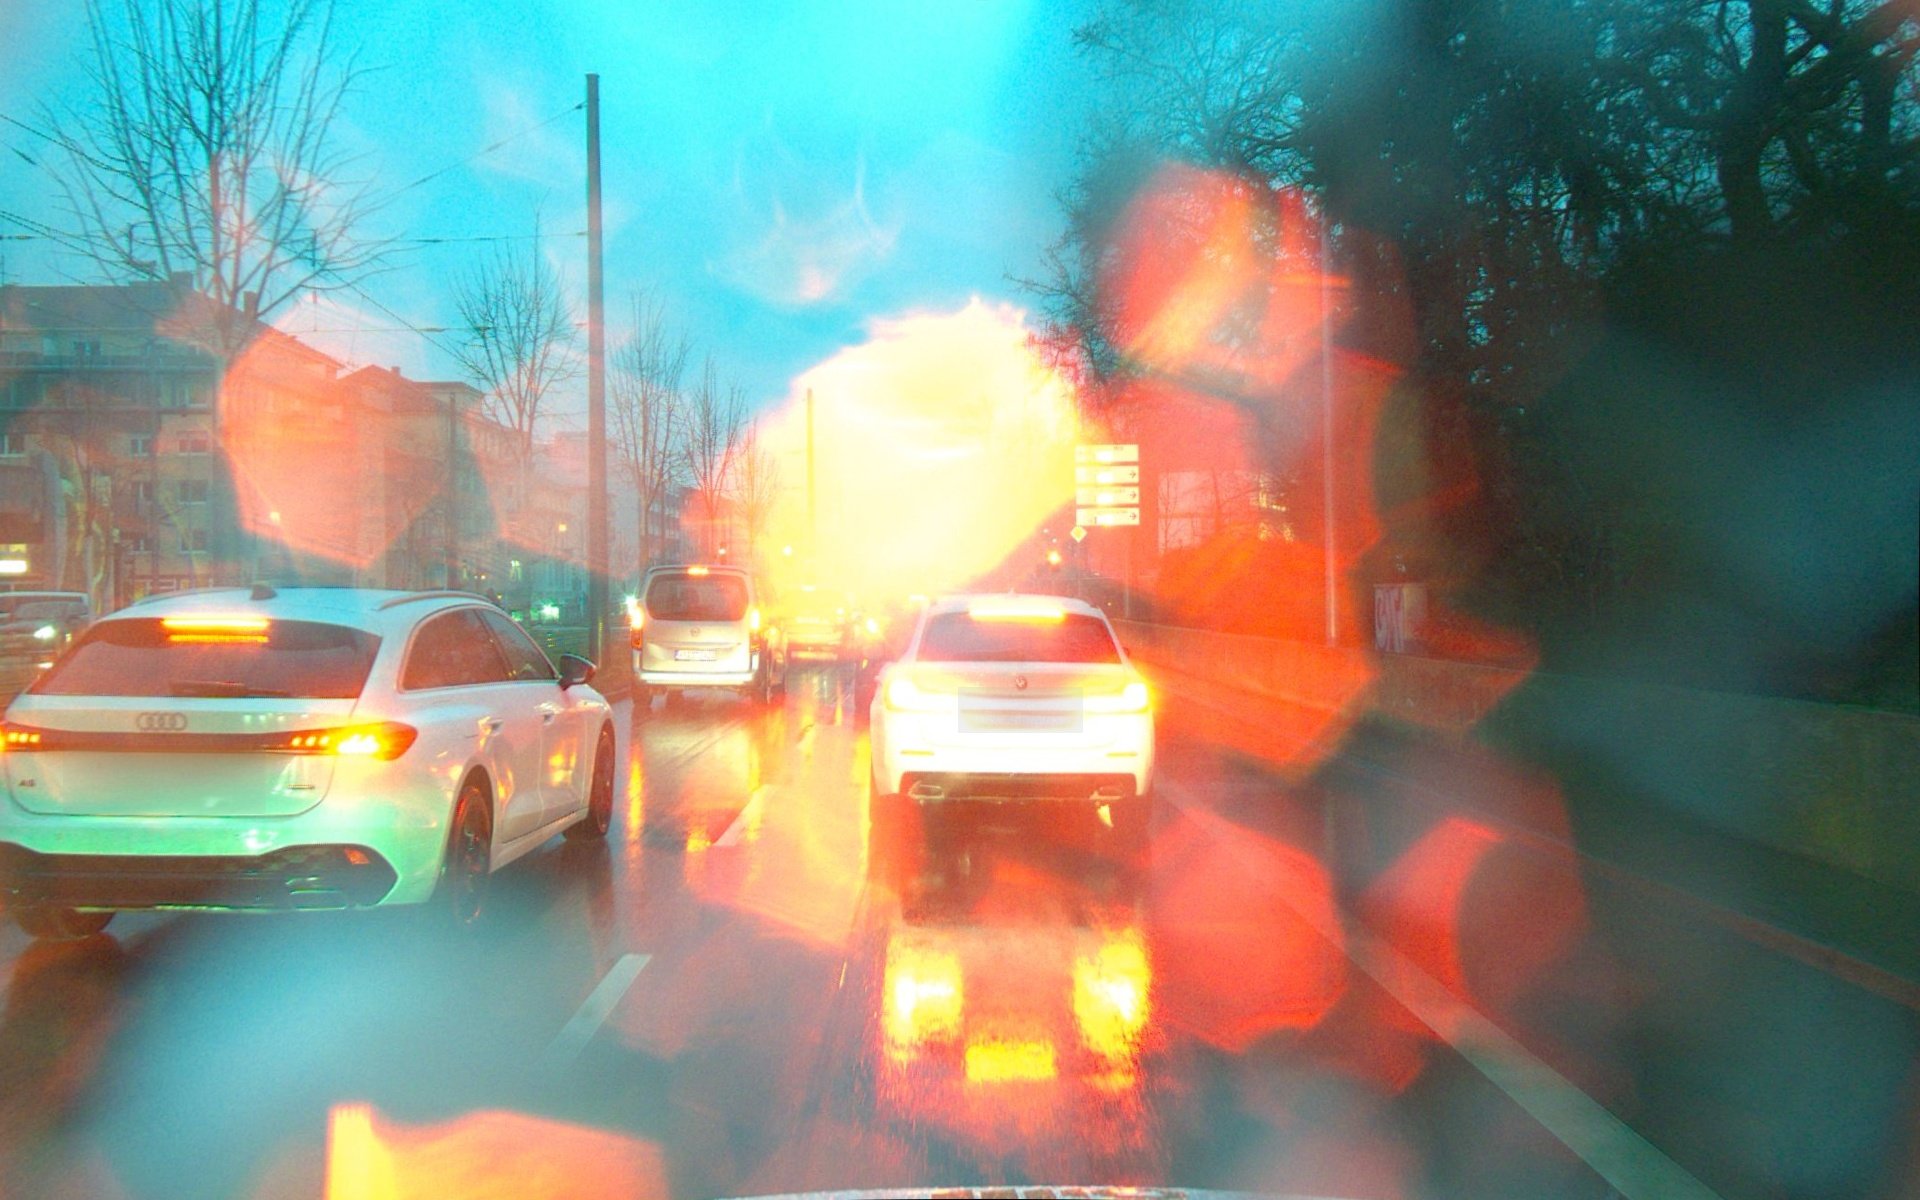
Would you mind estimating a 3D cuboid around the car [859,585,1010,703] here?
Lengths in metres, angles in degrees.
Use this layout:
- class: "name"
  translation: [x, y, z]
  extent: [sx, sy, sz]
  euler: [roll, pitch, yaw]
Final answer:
- class: "car"
  translation: [-0.353, 0.544, 22.906]
  extent: [1.896, 1.483, 4.162]
  euler: [0, 0, -1]

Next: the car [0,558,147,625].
- class: "car"
  translation: [-24.517, -0.240, 45.472]
  extent: [1.857, 1.749, 4.917]
  euler: [0, 0, 1]

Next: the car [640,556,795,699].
- class: "car"
  translation: [-3.242, 0.346, 22.848]
  extent: [1.758, 1.766, 4.533]
  euler: [1, 0, -4]

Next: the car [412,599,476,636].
- class: "car"
  translation: [-24.955, 0.816, 80.174]
  extent: [1.858, 1.662, 4.578]
  euler: [-1, 0, -3]

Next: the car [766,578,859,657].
- class: "car"
  translation: [-3.266, 0.357, 37.143]
  extent: [1.770, 1.674, 3.999]
  euler: [0, 0, -1]

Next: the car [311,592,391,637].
- class: "car"
  translation: [-27.414, 0.617, 74.601]
  extent: [1.954, 1.945, 5.159]
  euler: [-1, 0, -4]

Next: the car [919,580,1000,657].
- class: "car"
  translation: [-0.041, 0.396, 38.603]
  extent: [1.770, 1.674, 3.999]
  euler: [0, 0, -1]

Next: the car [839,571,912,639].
- class: "car"
  translation: [-2.322, 0.139, 46.355]
  extent: [1.953, 1.785, 3.999]
  euler: [1, 0, -2]

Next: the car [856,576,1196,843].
- class: "car"
  translation: [0.346, 0.615, 11.601]
  extent: [1.959, 1.534, 4.162]
  euler: [0, 0, -1]

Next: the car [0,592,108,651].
- class: "car"
  translation: [-32.589, 0.740, 57.314]
  extent: [1.966, 1.945, 5.129]
  euler: [-1, 0, 43]

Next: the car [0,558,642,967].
- class: "car"
  translation: [-2.901, 0.573, 8.146]
  extent: [1.808, 1.430, 4.613]
  euler: [1, 0, -1]
